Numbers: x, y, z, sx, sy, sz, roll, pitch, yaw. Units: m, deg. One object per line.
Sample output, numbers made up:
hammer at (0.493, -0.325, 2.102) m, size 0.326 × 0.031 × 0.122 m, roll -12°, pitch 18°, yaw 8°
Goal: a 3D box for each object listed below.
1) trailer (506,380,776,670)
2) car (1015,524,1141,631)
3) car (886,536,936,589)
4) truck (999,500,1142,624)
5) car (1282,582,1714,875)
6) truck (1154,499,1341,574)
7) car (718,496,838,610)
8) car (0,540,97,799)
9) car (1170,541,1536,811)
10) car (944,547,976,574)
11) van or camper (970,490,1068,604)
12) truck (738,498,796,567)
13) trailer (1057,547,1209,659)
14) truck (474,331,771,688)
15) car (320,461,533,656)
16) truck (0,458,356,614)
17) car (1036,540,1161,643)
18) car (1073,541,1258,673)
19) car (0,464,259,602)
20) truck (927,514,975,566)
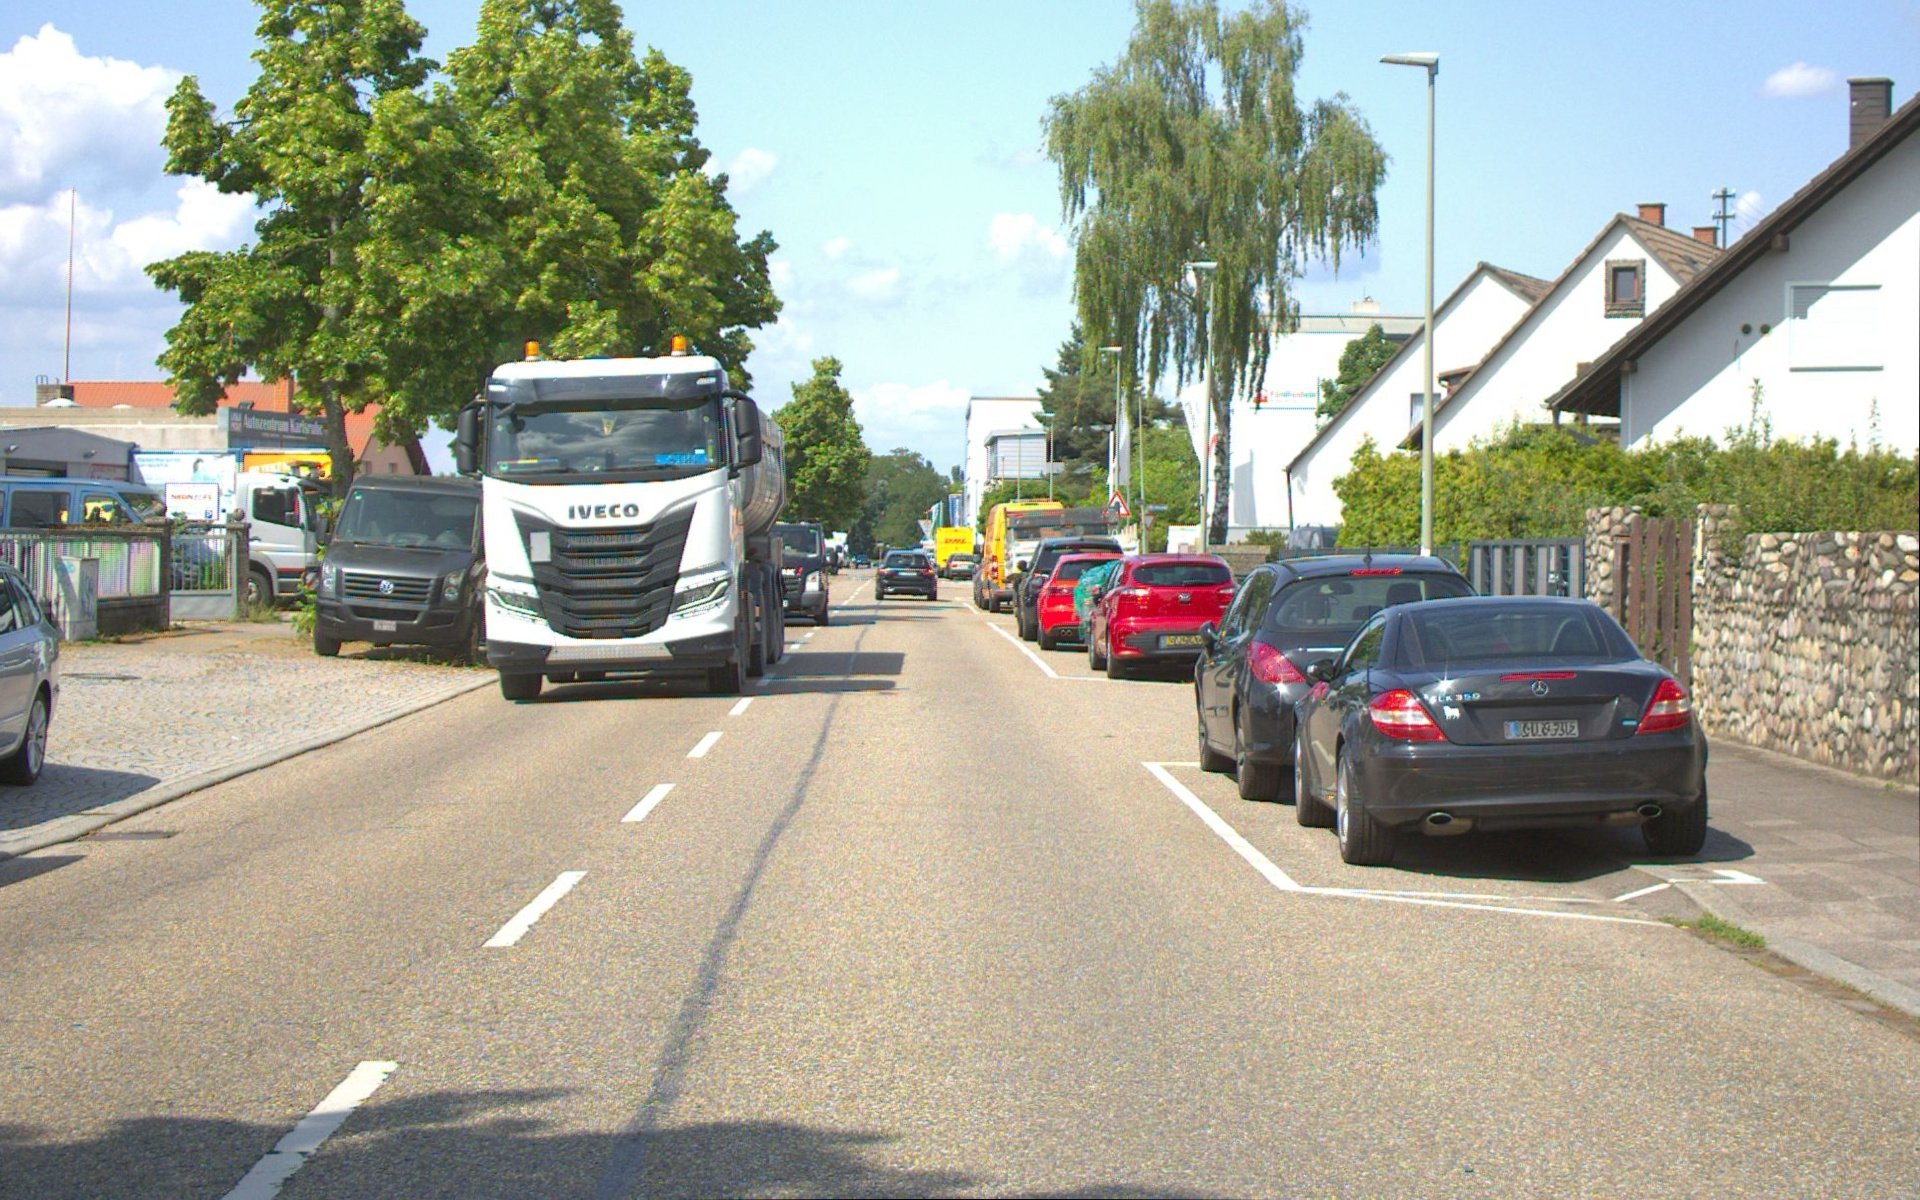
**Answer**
trailer at (-3.613, -0.879, 40.683) m, size 2.834 × 3.058 × 8.891 m, roll 0°, pitch 1°, yaw -3°
car at (1.877, -0.396, 55.898) m, size 1.830 × 1.656 × 4.554 m, roll 1°, pitch 1°, yaw -1°
car at (-1.427, -1.111, 100.742) m, size 1.427 × 1.513 × 3.017 m, roll 0°, pitch 1°, yaw 0°
truck at (2.087, -0.758, 66.678) m, size 2.522 × 2.291 × 5.895 m, roll 0°, pitch 1°, yaw 0°
car at (2.744, 0.600, 18.328) m, size 1.710 × 1.313 × 3.963 m, roll 0°, pitch 1°, yaw 1°
truck at (10.044, -2.225, 119.911) m, size 6.039 × 2.568 × 2.567 m, roll 0°, pitch 2°, yaw -26°
car at (-3.392, -0.902, 64.833) m, size 2.051 × 2.027 × 5.142 m, roll -1°, pitch 1°, yaw -1°
car at (-6.610, 0.405, 20.850) m, size 1.748 × 1.456 × 4.710 m, roll 4°, pitch 2°, yaw -3°
car at (2.496, 0.426, 22.762) m, size 1.743 × 1.545 × 4.122 m, roll 2°, pitch 1°, yaw -2°
car at (0.003, -2.154, 188.318) m, size 1.651 × 1.382 × 4.423 m, roll 1°, pitch 2°, yaw -1°
van or camper at (1.407, -1.308, 83.720) m, size 1.993 × 2.655 × 5.770 m, roll 0°, pitch 1°, yaw -3°
truck at (-8.325, -2.904, 148.885) m, size 2.269 × 2.845 × 7.175 m, roll 2°, pitch 0°, yaw -2°
trailer at (2.253, 0.001, 45.660) m, size 1.608 × 1.373 × 4.433 m, roll 1°, pitch 1°, yaw -2°
truck at (-3.459, -0.947, 36.535) m, size 2.772 × 3.487 × 5.882 m, roll 0°, pitch 1°, yaw -2°
car at (-6.638, -0.575, 43.188) m, size 2.168 × 2.252 × 4.001 m, roll 2°, pitch 2°, yaw -3°
truck at (-16.303, -1.210, 64.943) m, size 9.259 × 2.846 × 2.720 m, roll 0°, pitch 1°, yaw 4°
car at (2.023, -0.156, 51.141) m, size 1.684 × 1.430 × 4.146 m, roll 1°, pitch 1°, yaw 0°
car at (2.390, 0.040, 41.042) m, size 1.691 × 1.458 × 4.756 m, roll 1°, pitch 1°, yaw -3°
car at (-14.440, -1.112, 57.288) m, size 5.003 × 2.224 × 1.999 m, roll 1°, pitch 0°, yaw 12°
truck at (-0.561, -3.500, 199.925) m, size 2.474 × 2.930 × 7.189 m, roll 2°, pitch 1°, yaw -2°
